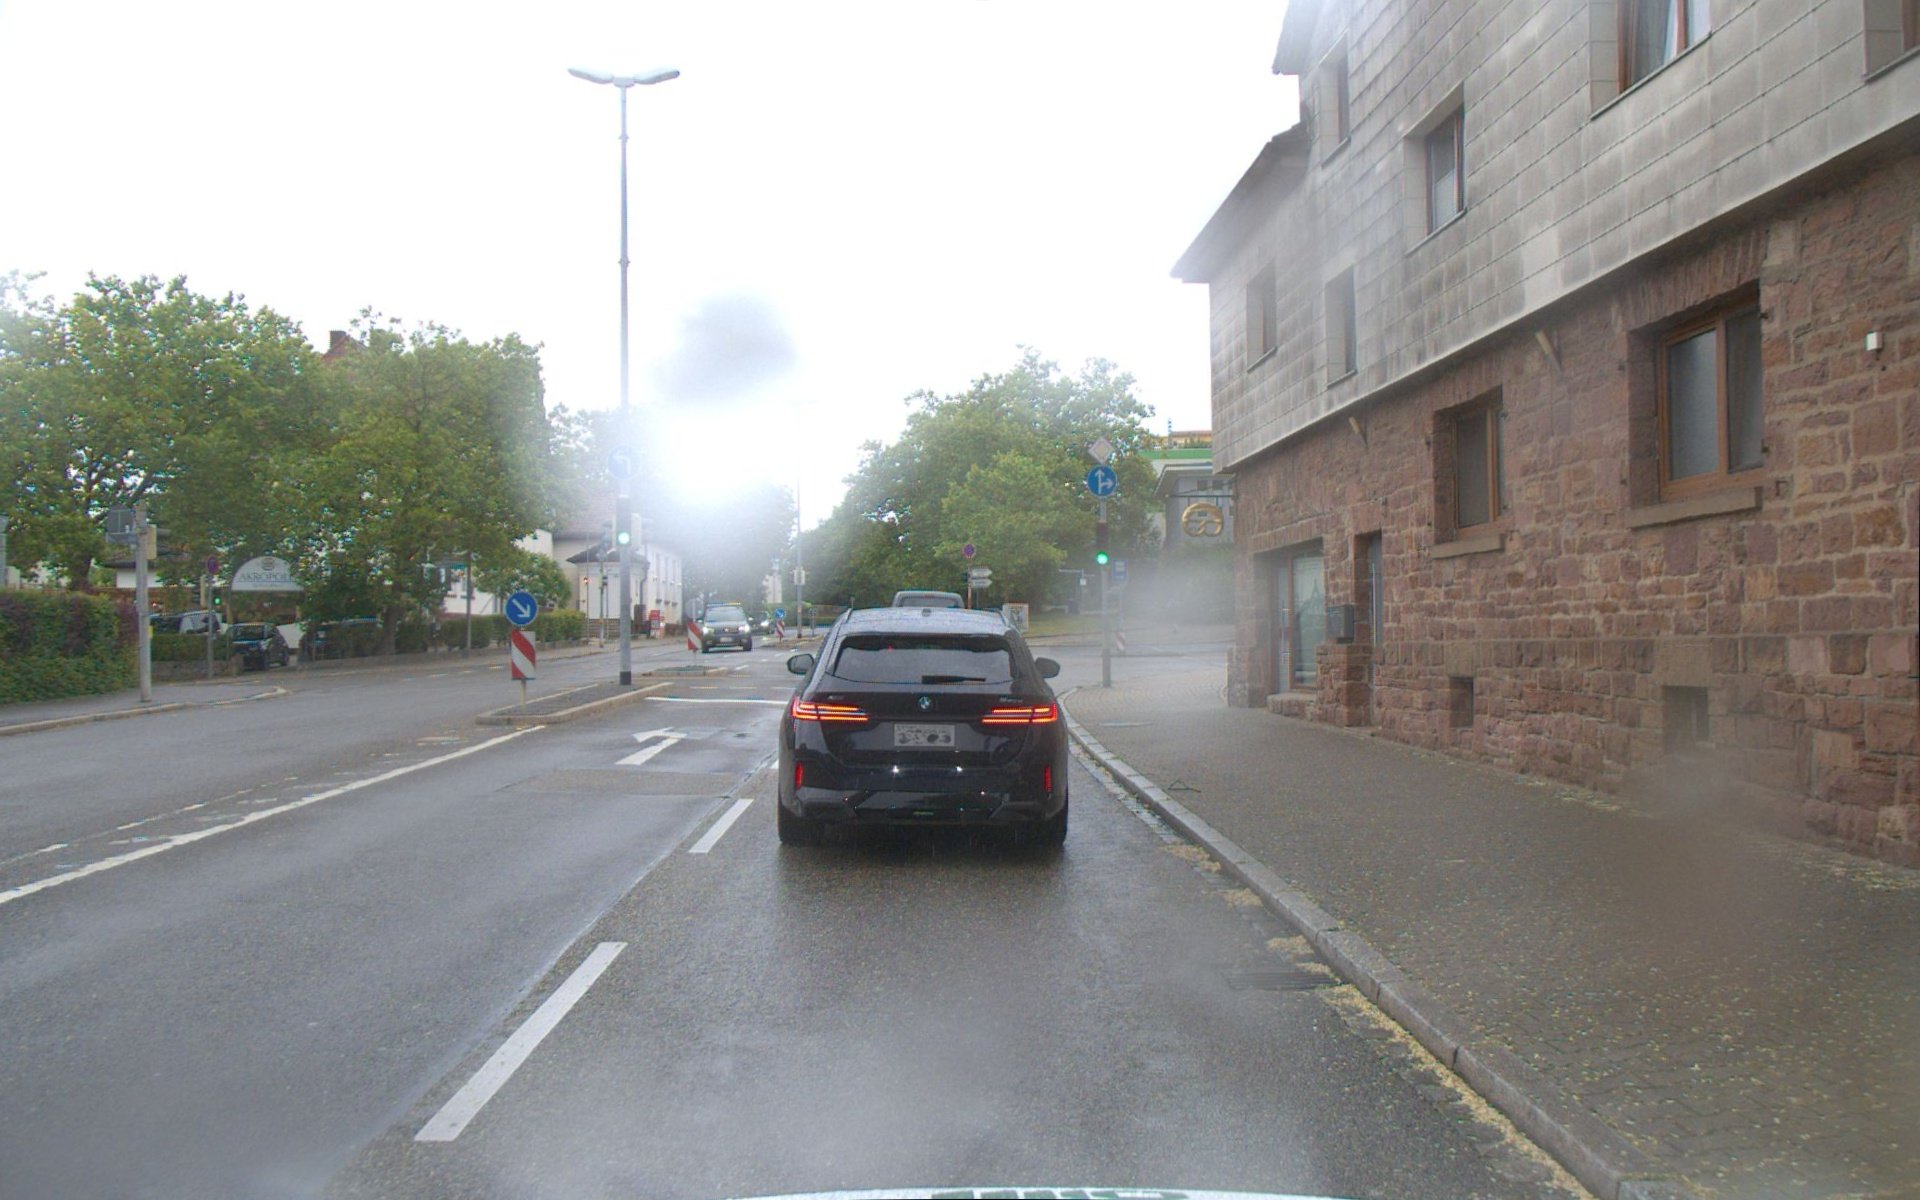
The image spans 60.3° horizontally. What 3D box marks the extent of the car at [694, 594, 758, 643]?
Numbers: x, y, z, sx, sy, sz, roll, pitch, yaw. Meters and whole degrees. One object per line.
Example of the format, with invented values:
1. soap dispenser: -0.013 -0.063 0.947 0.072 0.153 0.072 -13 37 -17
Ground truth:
1. car: -8.192 0.616 58.215 1.861 1.605 4.499 -1 0 -4

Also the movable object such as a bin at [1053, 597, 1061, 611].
1. movable object such as a bin: 6.583 0.261 111.835 0.440 0.921 0.463 1 -1 14

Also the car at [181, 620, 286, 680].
1. car: -23.282 1.559 53.133 1.772 1.578 3.999 1 3 -3

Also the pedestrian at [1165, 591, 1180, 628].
1. pedestrian: 9.400 0.424 73.145 0.588 1.645 0.526 1 -1 5

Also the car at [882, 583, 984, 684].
1. car: -0.578 0.651 32.437 1.777 1.840 3.753 1 -1 -4

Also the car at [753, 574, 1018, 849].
1. car: -0.541 0.673 11.274 1.494 1.561 3.528 1 -1 -4

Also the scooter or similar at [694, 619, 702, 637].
1. scooter or similar: -15.960 1.692 100.852 0.382 1.083 1.409 1 -1 -5
